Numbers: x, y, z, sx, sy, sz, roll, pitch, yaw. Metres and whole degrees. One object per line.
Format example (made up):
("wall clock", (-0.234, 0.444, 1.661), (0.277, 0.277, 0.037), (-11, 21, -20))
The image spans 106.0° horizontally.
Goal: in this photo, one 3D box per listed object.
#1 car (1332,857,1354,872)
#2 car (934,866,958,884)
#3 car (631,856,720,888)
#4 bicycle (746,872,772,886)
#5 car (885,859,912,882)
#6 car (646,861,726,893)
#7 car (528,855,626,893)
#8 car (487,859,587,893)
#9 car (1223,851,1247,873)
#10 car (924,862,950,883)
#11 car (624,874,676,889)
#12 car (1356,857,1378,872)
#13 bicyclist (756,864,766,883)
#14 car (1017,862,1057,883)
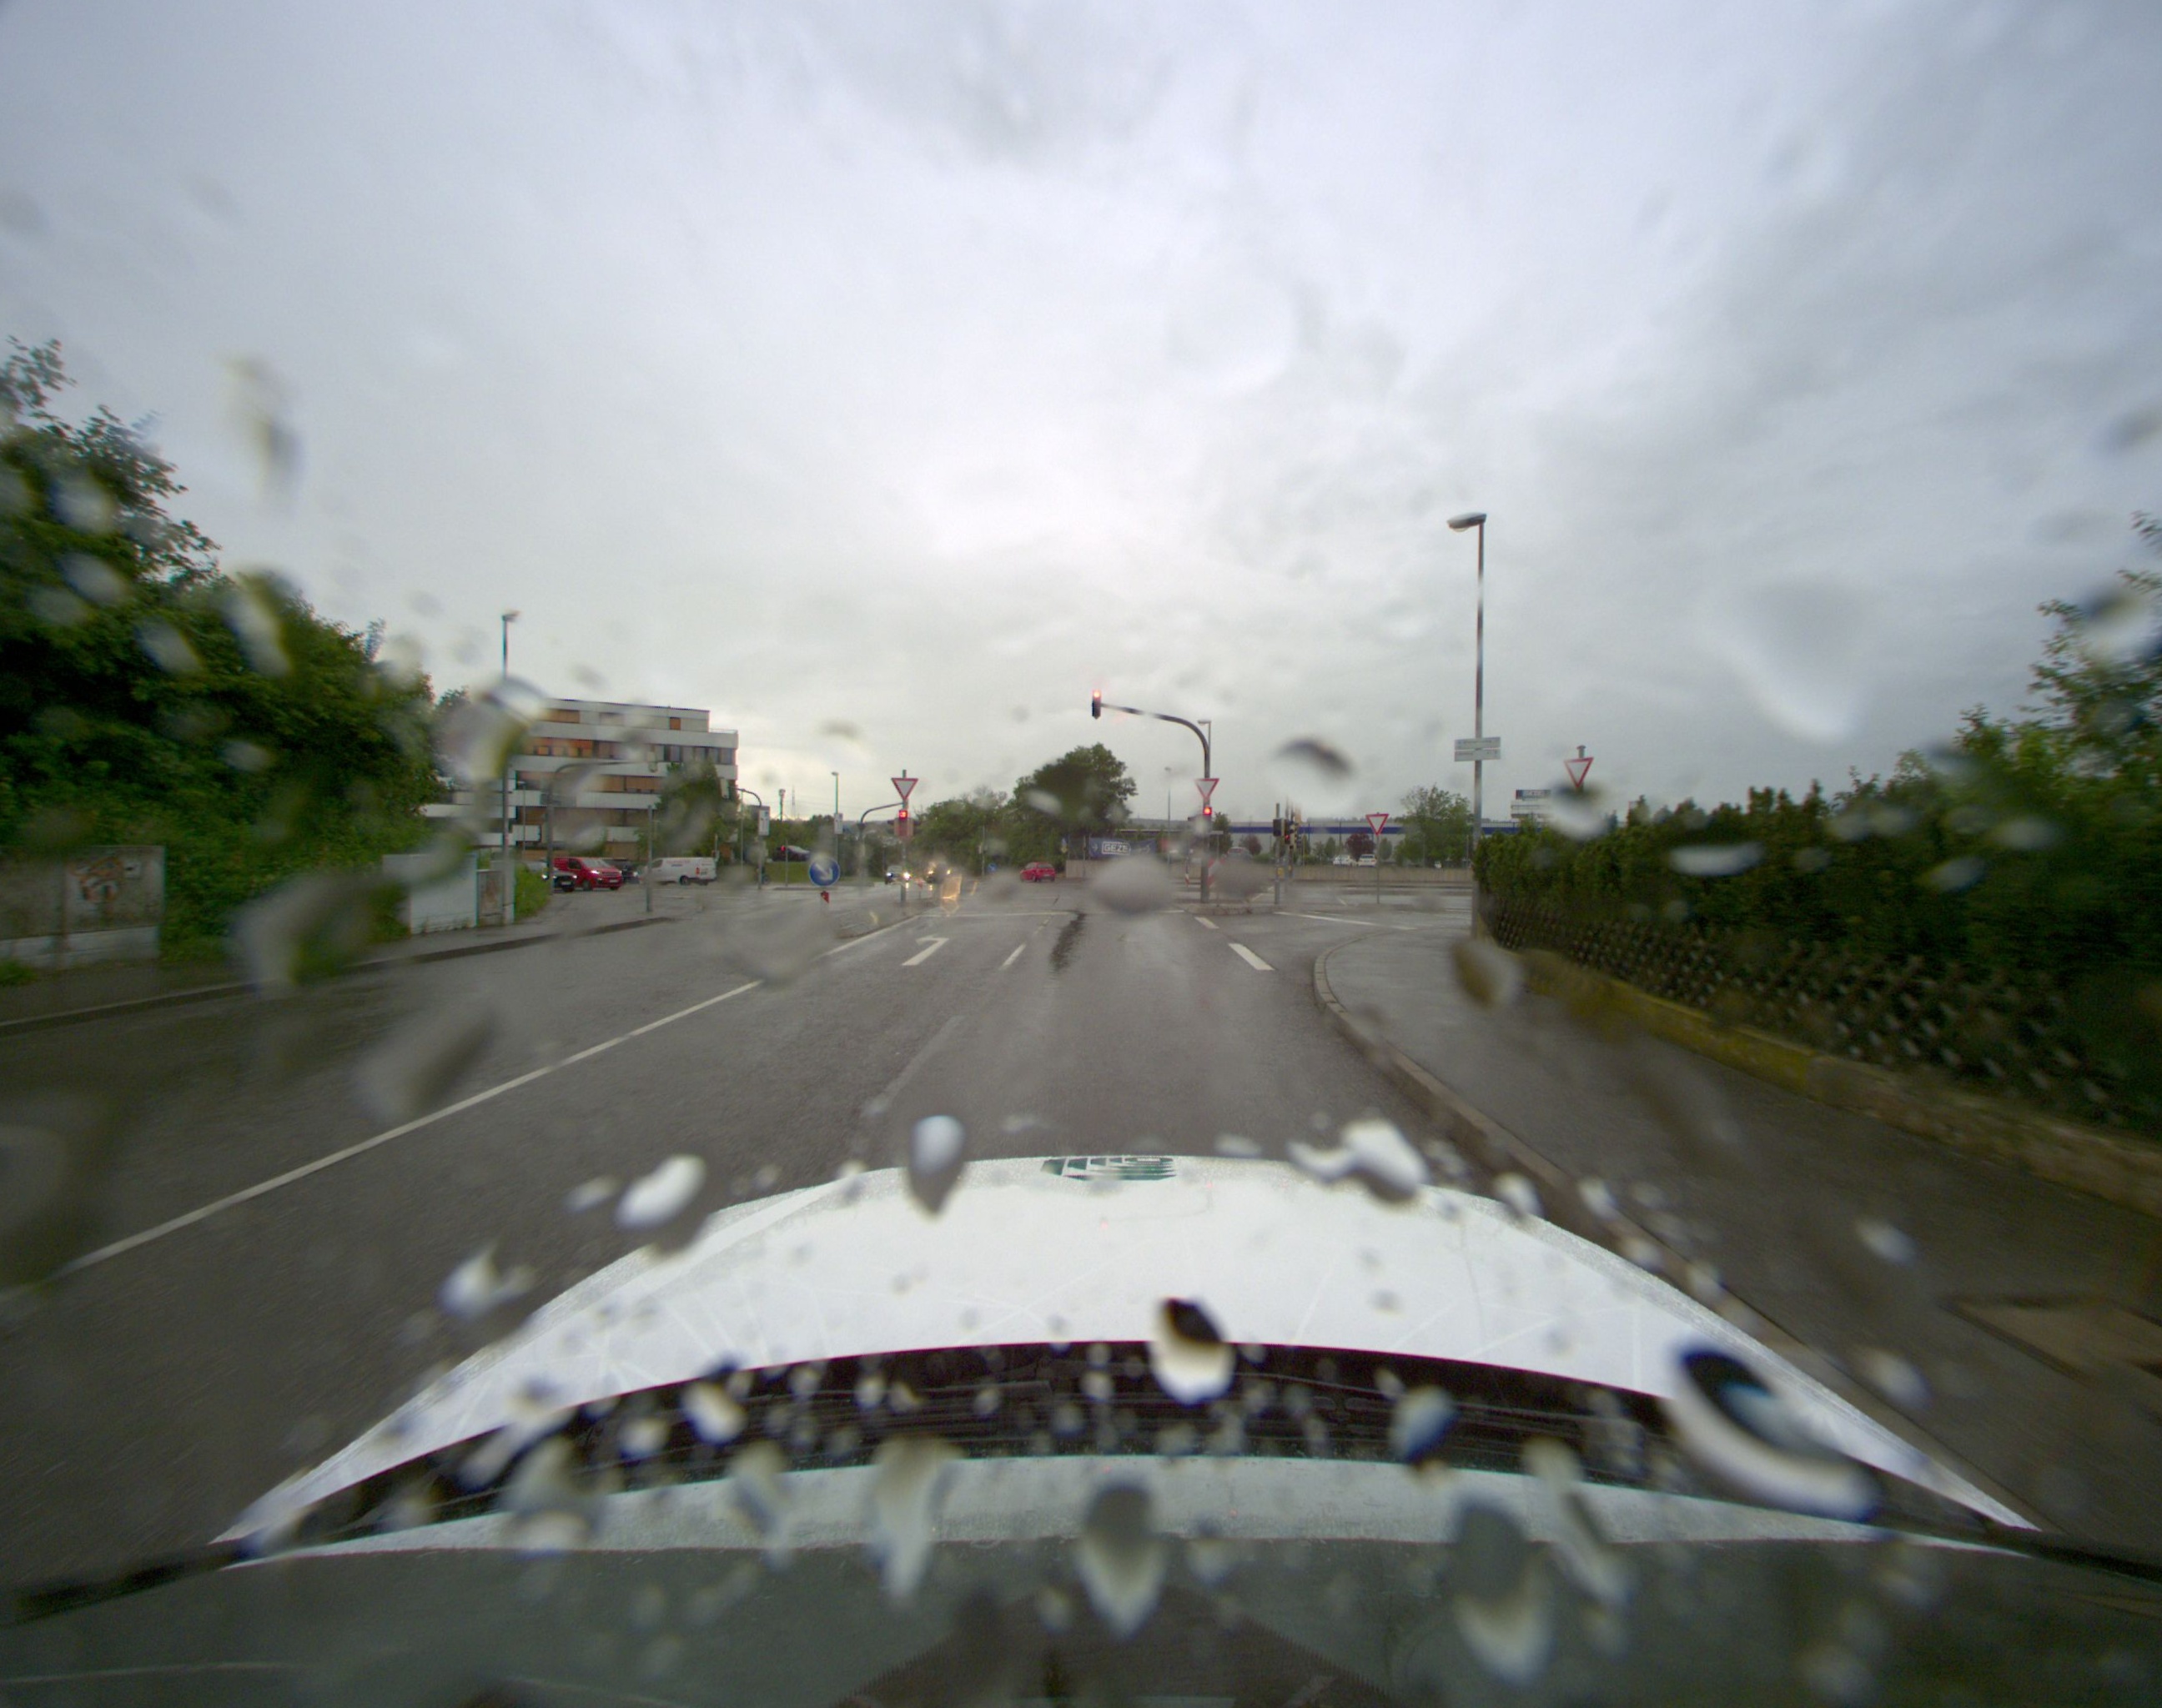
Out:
("car", (27.938, 1.109, 86.757), (1.976, 1.478, 4.022), (0, 0, 23))
("car", (-15.544, 2.444, 93.524), (1.999, 1.907, 3.975), (1, 0, -19))
("car", (-26.408, 1.166, 53.115), (4.962, 2.014, 2.007), (0, -1, 12))
("bicycle", (-24.950, 1.937, 63.174), (1.771, 1.052, 0.609), (0, -1, -4))
("car", (-15.348, 1.393, 68.301), (1.997, 1.895, 3.978), (1, -2, -15))
("car", (-23.972, 1.363, 49.455), (4.108, 1.840, 2.009), (0, -1, 18))
("car", (-27.778, 1.082, 44.890), (4.732, 2.014, 2.010), (0, -1, 19))
("car", (-28.042, 1.129, 41.950), (4.577, 1.679, 2.045), (-1, -1, 22))
("car", (14.504, 0.779, 76.659), (1.979, 2.014, 4.015), (0, -1, 14))
("car", (-11.994, 1.516, 67.514), (1.995, 1.618, 3.984), (0, 0, -12))
("car", (-33.746, 2.163, 63.888), (3.521, 1.105, 1.806), (0, -1, -25))
("car", (30.233, 1.116, 86.042), (1.976, 1.478, 4.021), (0, 0, 22))
("bicyclist", (-24.801, 1.536, 63.189), (0.542, 1.446, 0.602), (0, -1, -4))
("car", (-3.316, 1.358, 61.094), (1.624, 1.448, 3.774), (1, 0, -27))
